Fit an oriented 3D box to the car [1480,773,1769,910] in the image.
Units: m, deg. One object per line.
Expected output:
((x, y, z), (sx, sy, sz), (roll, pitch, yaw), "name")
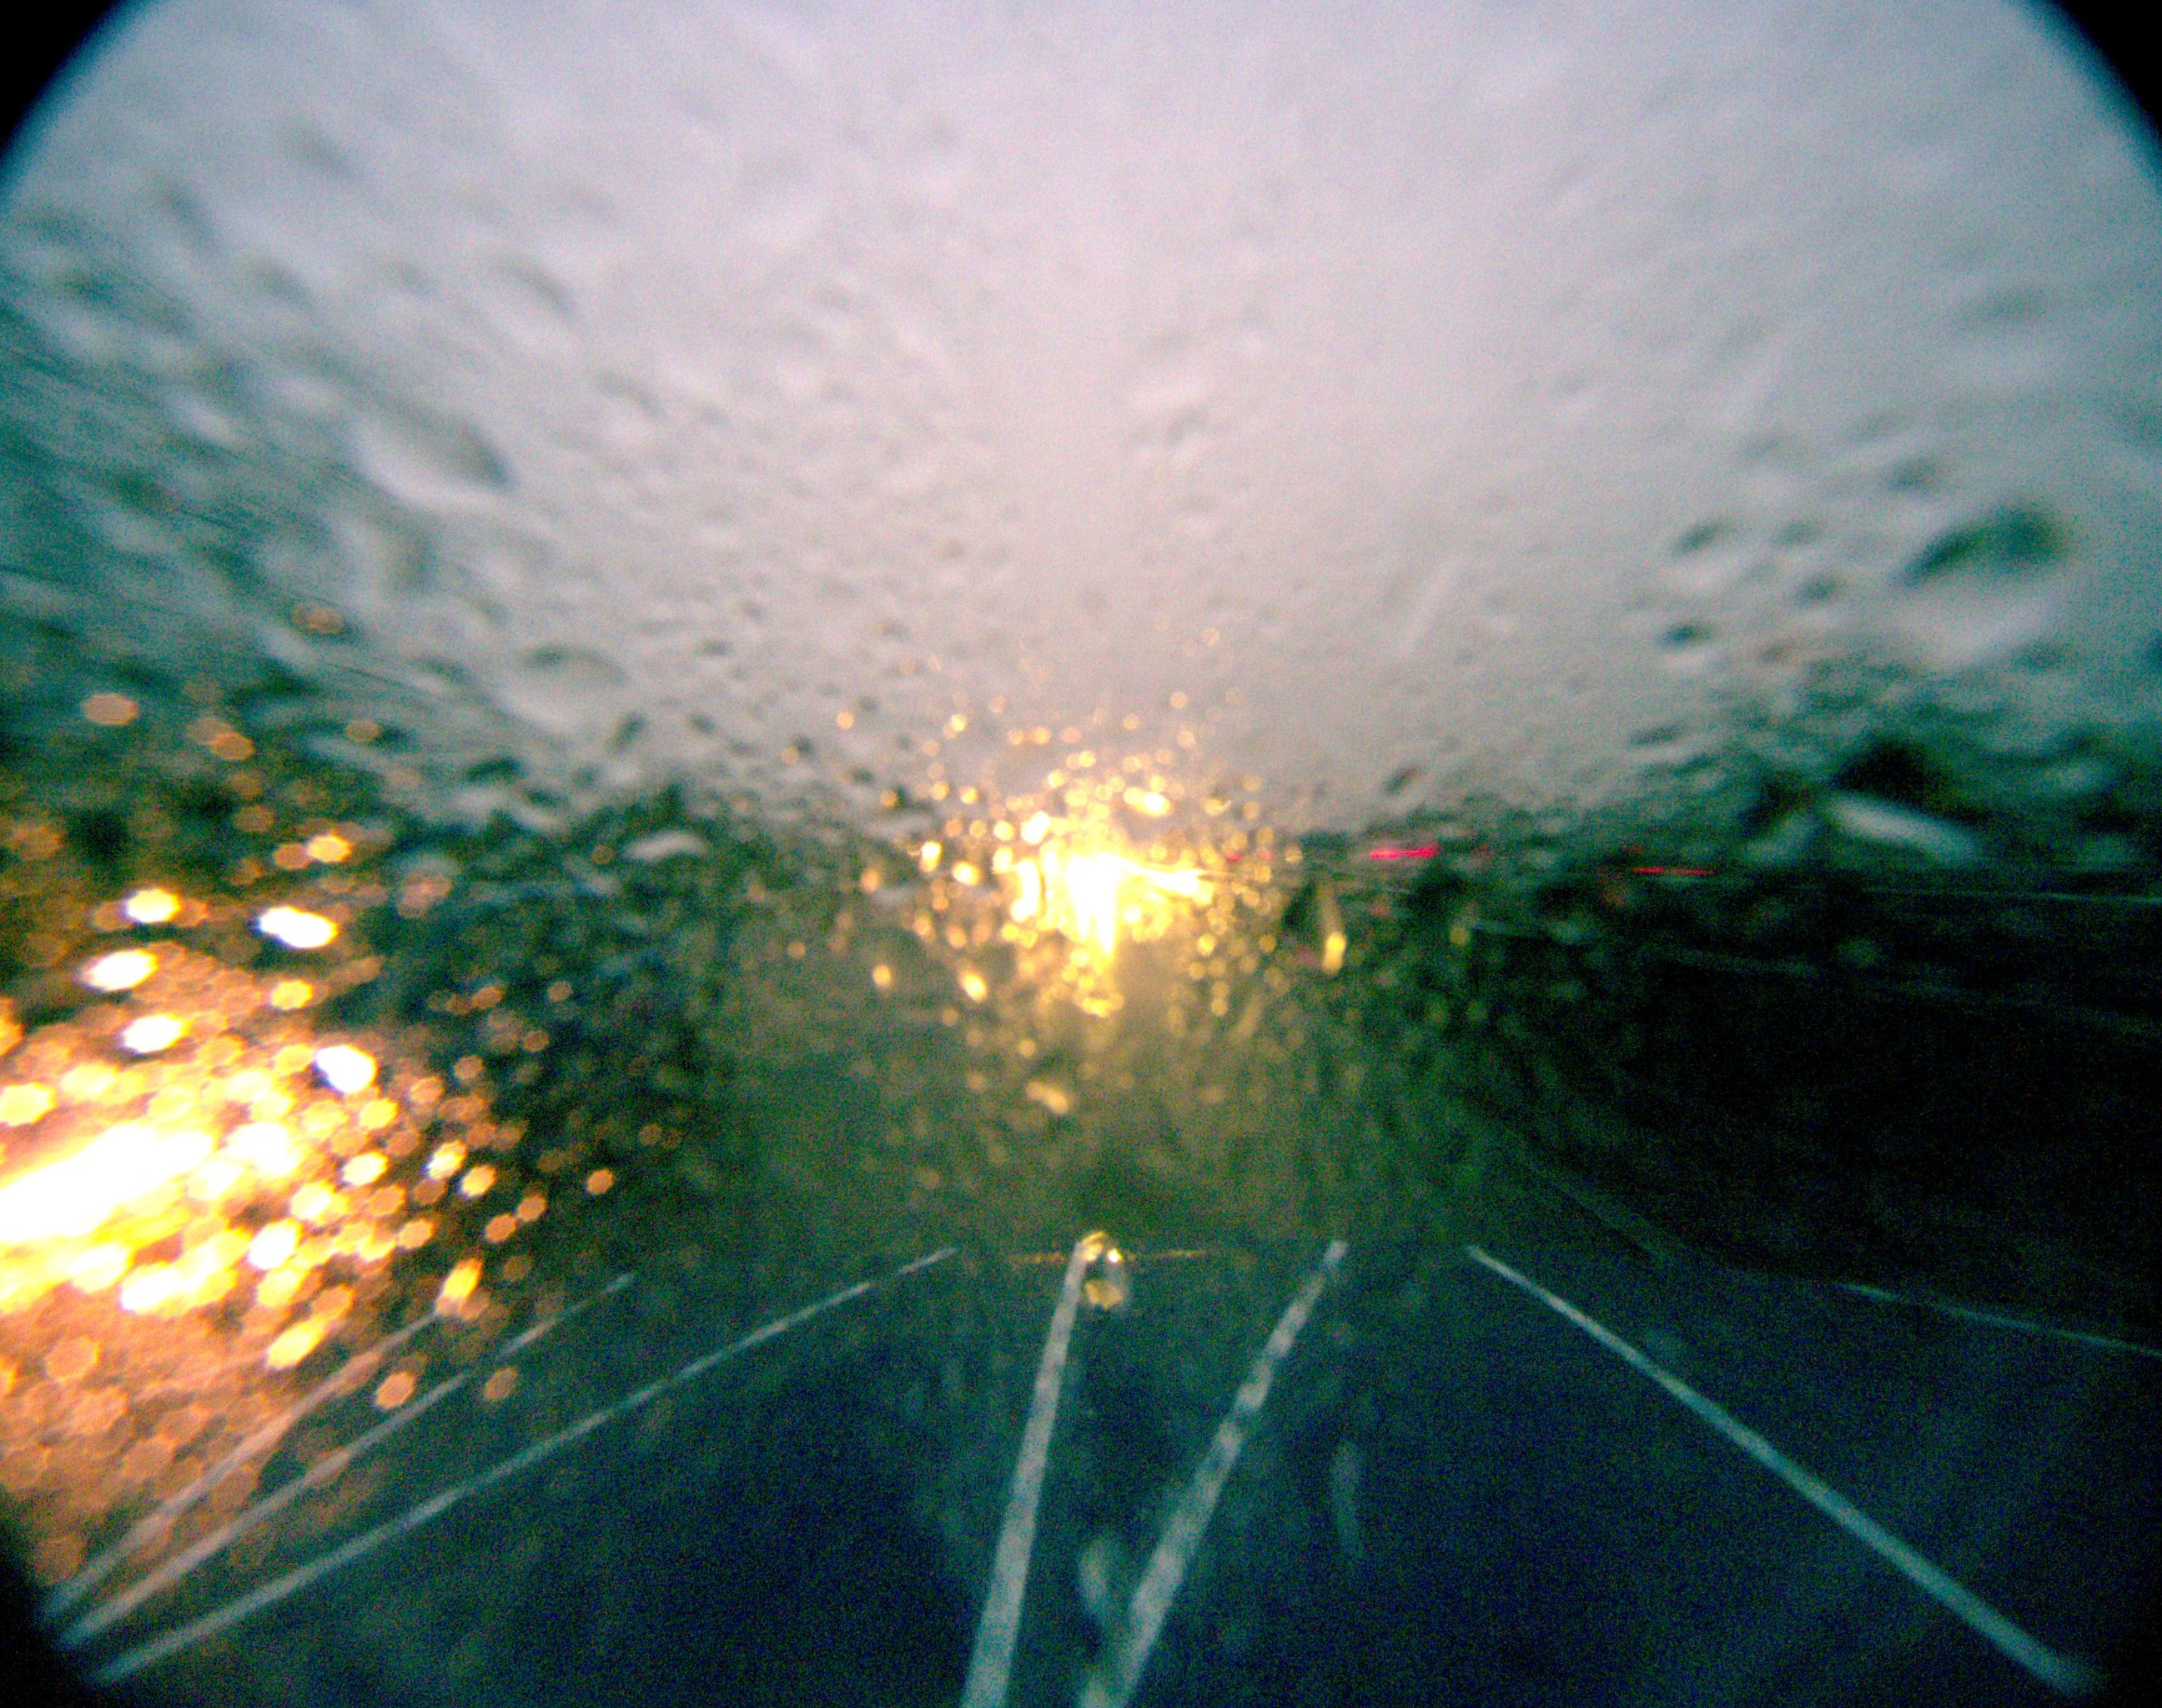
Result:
((9.896, -0.211, 14.458), (2.075, 2.102, 4.762), (-2, 0, 0), "car")

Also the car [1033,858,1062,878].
((-2.633, 1.142, 60.917), (1.850, 1.521, 4.150), (-2, -1, 4), "car")

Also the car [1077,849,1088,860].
((0.230, 0.131, 144.831), (1.998, 2.002, 4.000), (-2, 0, 0), "car")

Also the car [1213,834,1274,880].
((8.143, 0.127, 38.553), (2.075, 2.102, 4.762), (-2, 0, 0), "car")

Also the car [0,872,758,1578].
((-3.466, 0.952, 3.792), (1.850, 1.445, 4.147), (-3, 1, 0), "car")

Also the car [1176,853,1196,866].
((13.784, 0.711, 99.898), (1.989, 1.542, 4.392), (-2, -1, -1), "car")

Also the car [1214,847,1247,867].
((13.738, 0.247, 70.134), (2.075, 1.781, 4.847), (-2, 0, 0), "car")

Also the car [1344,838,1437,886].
((12.649, 0.281, 31.385), (2.075, 1.781, 4.339), (-2, 0, 0), "car")

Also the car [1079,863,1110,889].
((0.897, 1.391, 49.099), (1.850, 1.521, 4.150), (-2, -1, 2), "car")

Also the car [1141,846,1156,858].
((9.538, -0.202, 107.407), (1.821, 1.542, 4.470), (-2, -1, 3), "car")
